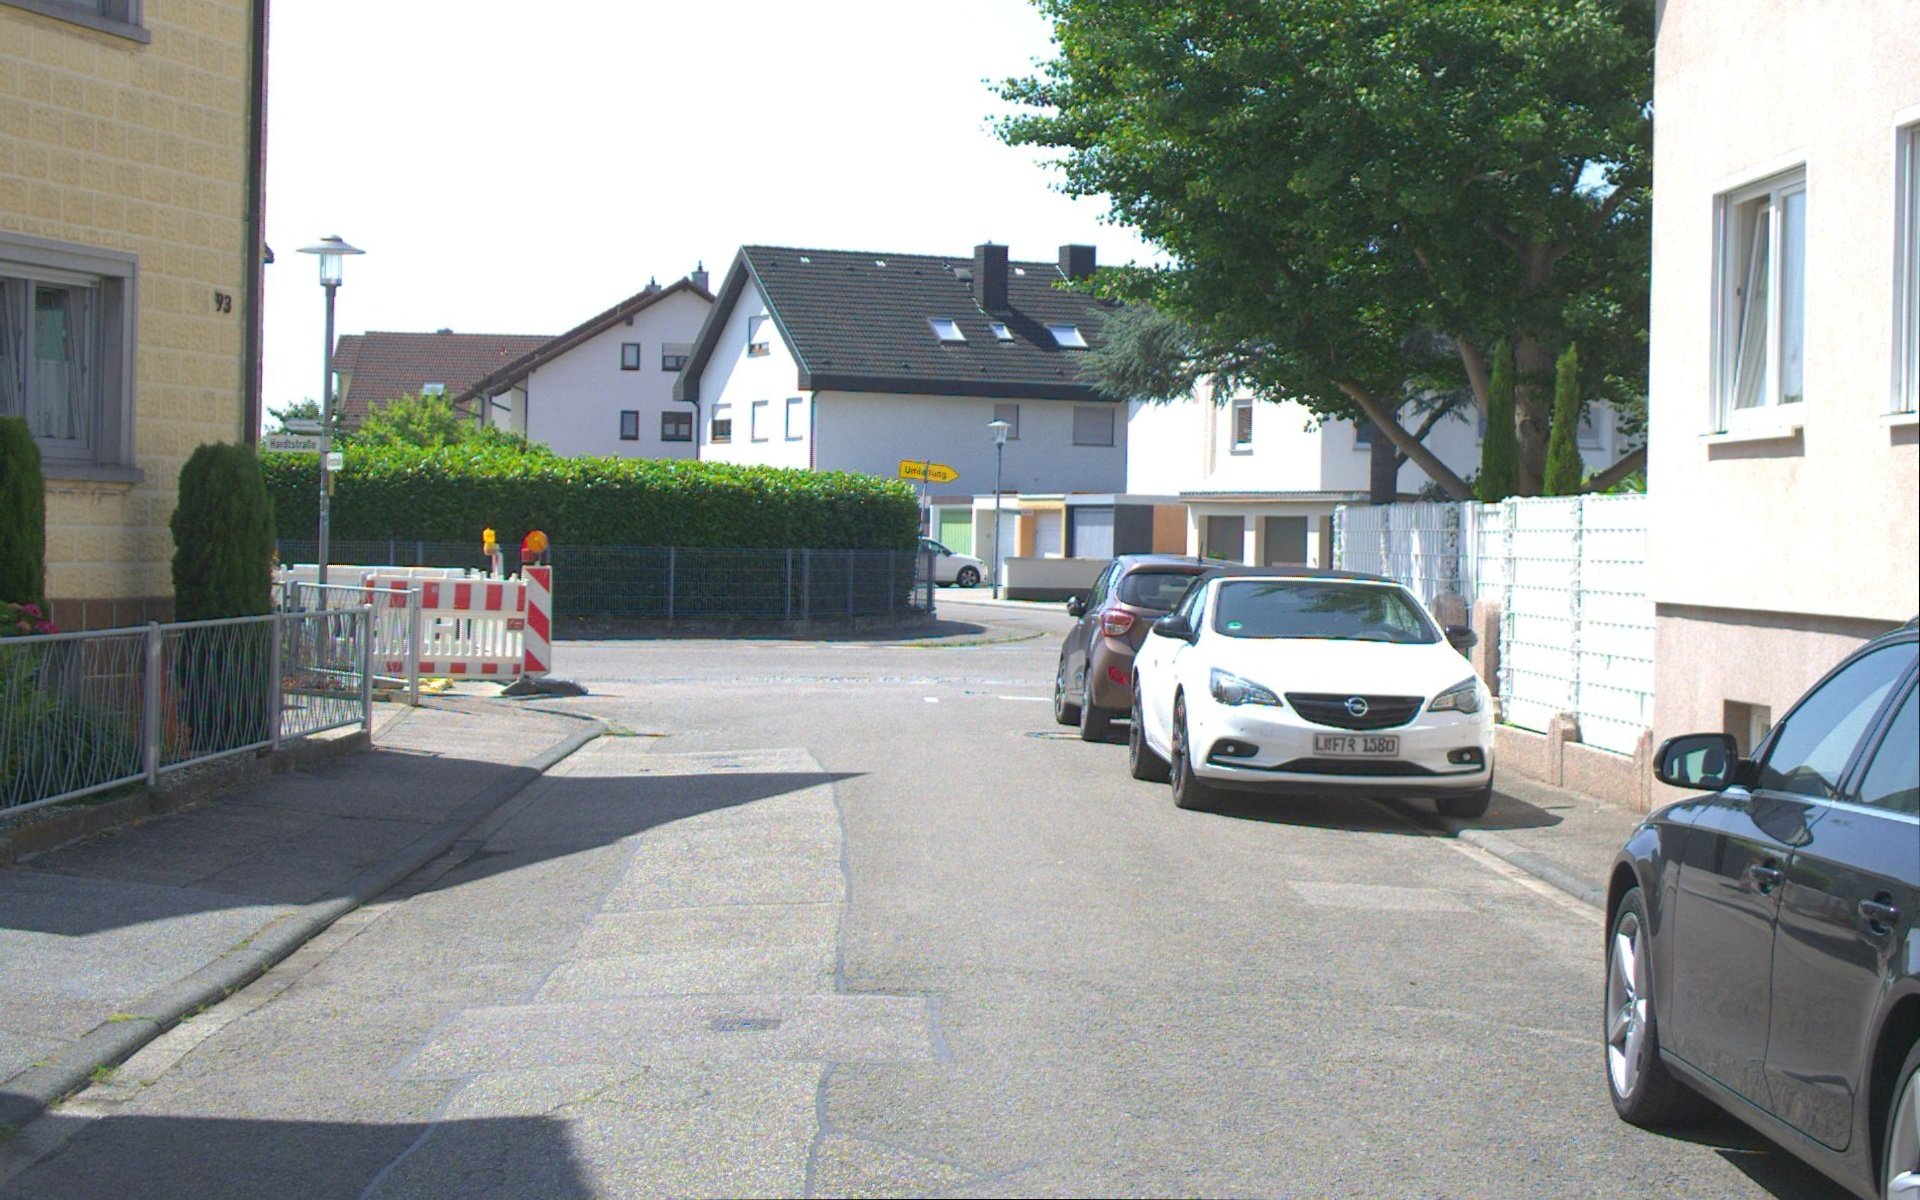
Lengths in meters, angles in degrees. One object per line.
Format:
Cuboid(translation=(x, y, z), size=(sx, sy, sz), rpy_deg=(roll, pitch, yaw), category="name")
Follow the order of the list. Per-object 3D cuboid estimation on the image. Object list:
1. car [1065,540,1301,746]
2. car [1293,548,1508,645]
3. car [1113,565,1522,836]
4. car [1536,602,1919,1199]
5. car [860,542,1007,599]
Cuboid(translation=(1.788, 0.303, 28.635), size=(1.712, 1.527, 4.035), rpy_deg=(2, 1, 1), category="car")
Cuboid(translation=(7.887, -0.081, 61.919), size=(1.797, 1.557, 4.144), rpy_deg=(2, 1, -26), category="car")
Cuboid(translation=(2.123, 0.544, 21.750), size=(1.895, 1.424, 4.738), rpy_deg=(2, 1, -2), category="car")
Cuboid(translation=(2.681, 0.758, 7.671), size=(1.895, 1.360, 4.737), rpy_deg=(2, 1, -1), category="car")
Cuboid(translation=(-0.728, -0.817, 94.456), size=(3.598, 1.403, 1.784), rpy_deg=(2, 1, -23), category="car")
